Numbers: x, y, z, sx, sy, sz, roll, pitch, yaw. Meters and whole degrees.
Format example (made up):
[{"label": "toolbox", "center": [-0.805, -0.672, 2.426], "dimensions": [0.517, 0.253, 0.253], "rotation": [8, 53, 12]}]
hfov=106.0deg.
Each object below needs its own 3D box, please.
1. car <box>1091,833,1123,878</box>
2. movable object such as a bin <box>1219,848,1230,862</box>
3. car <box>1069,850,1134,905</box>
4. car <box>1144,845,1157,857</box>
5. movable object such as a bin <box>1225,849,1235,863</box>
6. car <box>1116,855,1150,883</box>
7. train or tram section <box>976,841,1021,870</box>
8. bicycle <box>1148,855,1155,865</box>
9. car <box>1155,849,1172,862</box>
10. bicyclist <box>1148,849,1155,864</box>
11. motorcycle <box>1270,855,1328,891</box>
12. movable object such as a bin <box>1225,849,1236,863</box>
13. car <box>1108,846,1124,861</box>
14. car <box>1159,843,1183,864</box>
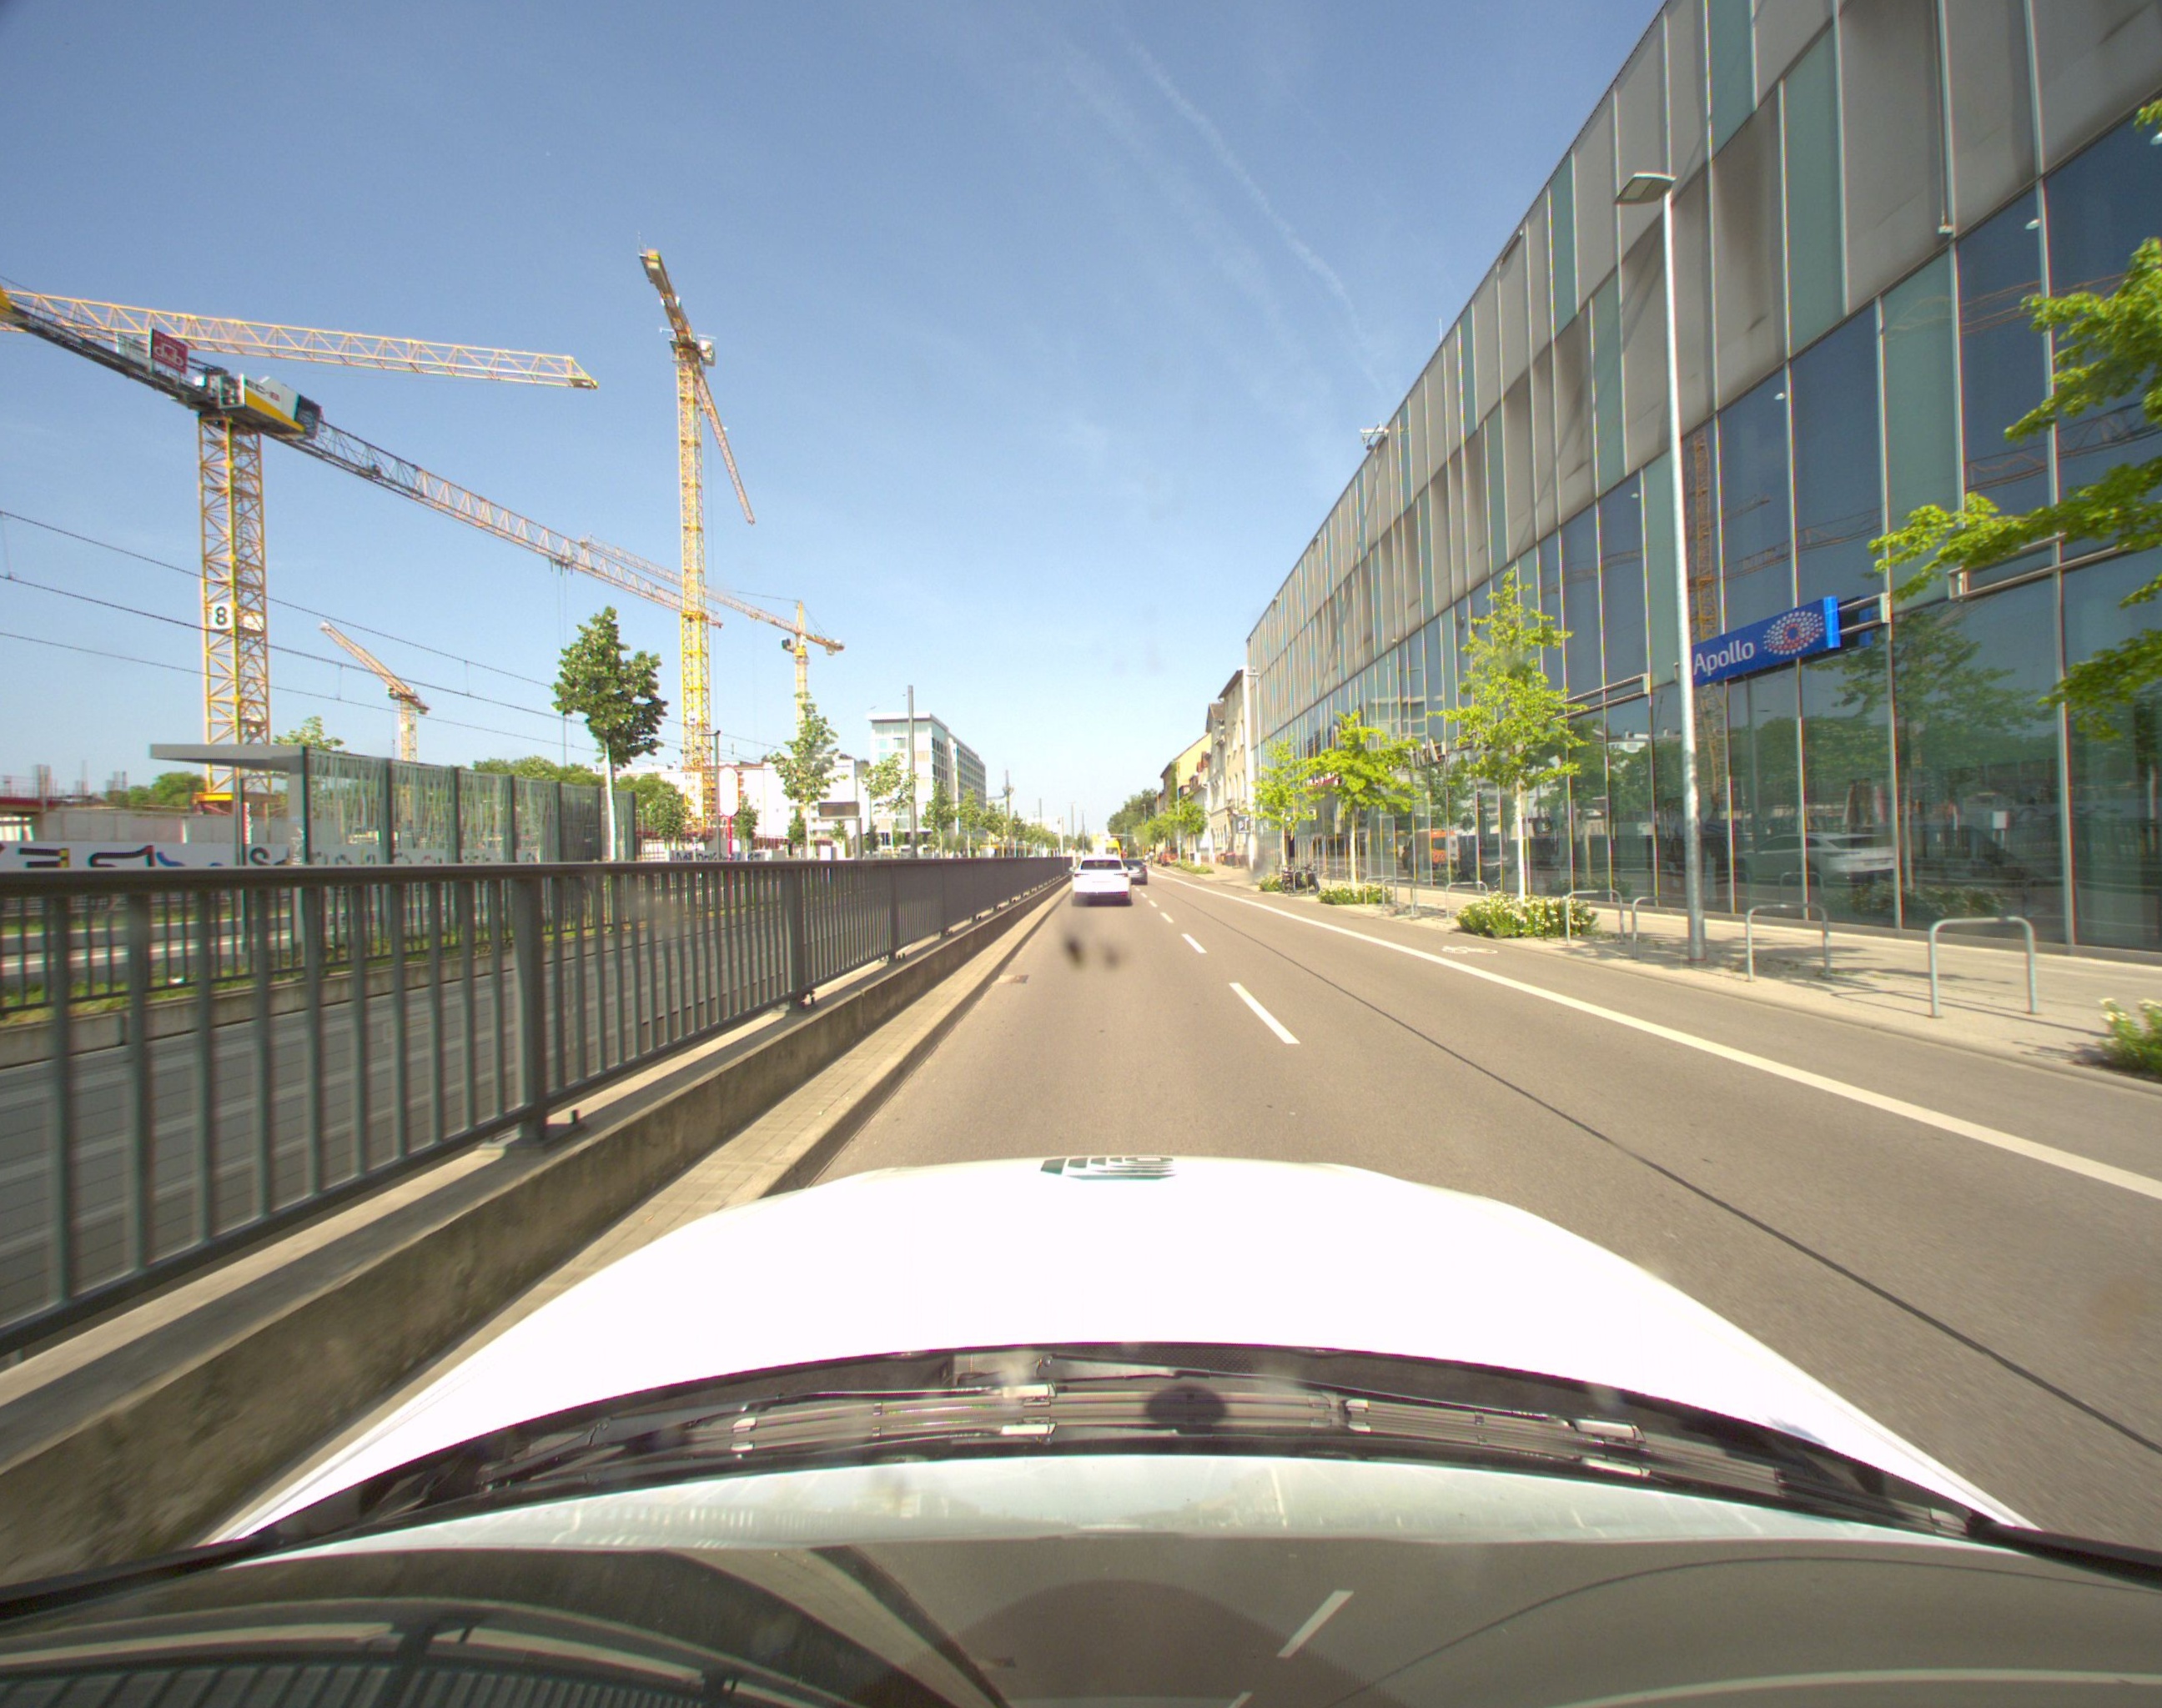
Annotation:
[{"label": "car", "center": [1.812, 0.001, 55.755], "dimensions": [2.012, 2.795, 5.404], "rotation": [-2, 2, 2]}, {"label": "movable object such as a bin", "center": [12.636, 0.079, 71.741], "dimensions": [0.674, 1.152, 0.610], "rotation": [-3, 3, -42]}, {"label": "car", "center": [0.678, 0.685, 25.911], "dimensions": [1.862, 1.574, 4.002], "rotation": [-2, 0, 2]}, {"label": "car", "center": [11.015, -0.478, 129.810], "dimensions": [1.806, 1.812, 3.837], "rotation": [-1, 0, 1]}, {"label": "movable object such as a bin", "center": [12.670, 0.136, 69.287], "dimensions": [0.702, 1.152, 0.671], "rotation": [-1, 2, 1]}, {"label": "car", "center": [2.844, 0.788, 44.951], "dimensions": [1.753, 1.436, 4.117], "rotation": [0, 0, 2]}, {"label": "train or tram section", "center": [-11.180, 0.174, 113.264], "dimensions": [2.892, 3.676, 18.161], "rotation": [0, 0, 5]}, {"label": "bicycle", "center": [7.207, 0.638, 83.491], "dimensions": [0.652, 0.938, 1.519], "rotation": [-1, 0, 4]}, {"label": "car", "center": [10.046, 0.206, 99.584], "dimensions": [1.667, 1.483, 4.313], "rotation": [-3, 0, 1]}, {"label": "bicyclist", "center": [7.204, 0.254, 83.533], "dimensions": [0.636, 1.577, 0.772], "rotation": [-1, 0, 4]}, {"label": "motorcycle", "center": [8.588, 0.734, 32.106], "dimensions": [1.968, 1.349, 0.865], "rotation": [-2, 0, -9]}, {"label": "movable object such as a bin", "center": [12.540, 0.167, 68.319], "dimensions": [0.779, 1.172, 0.808], "rotation": [-1, 2, 1]}, {"label": "car", "center": [4.606, -0.044, 107.933], "dimensions": [1.986, 2.013, 4.001], "rotation": [0, 0, 1]}, {"label": "car", "center": [9.534, -0.070, 86.319], "dimensions": [2.055, 2.013, 4.590], "rotation": [-2, 1, 1]}]
